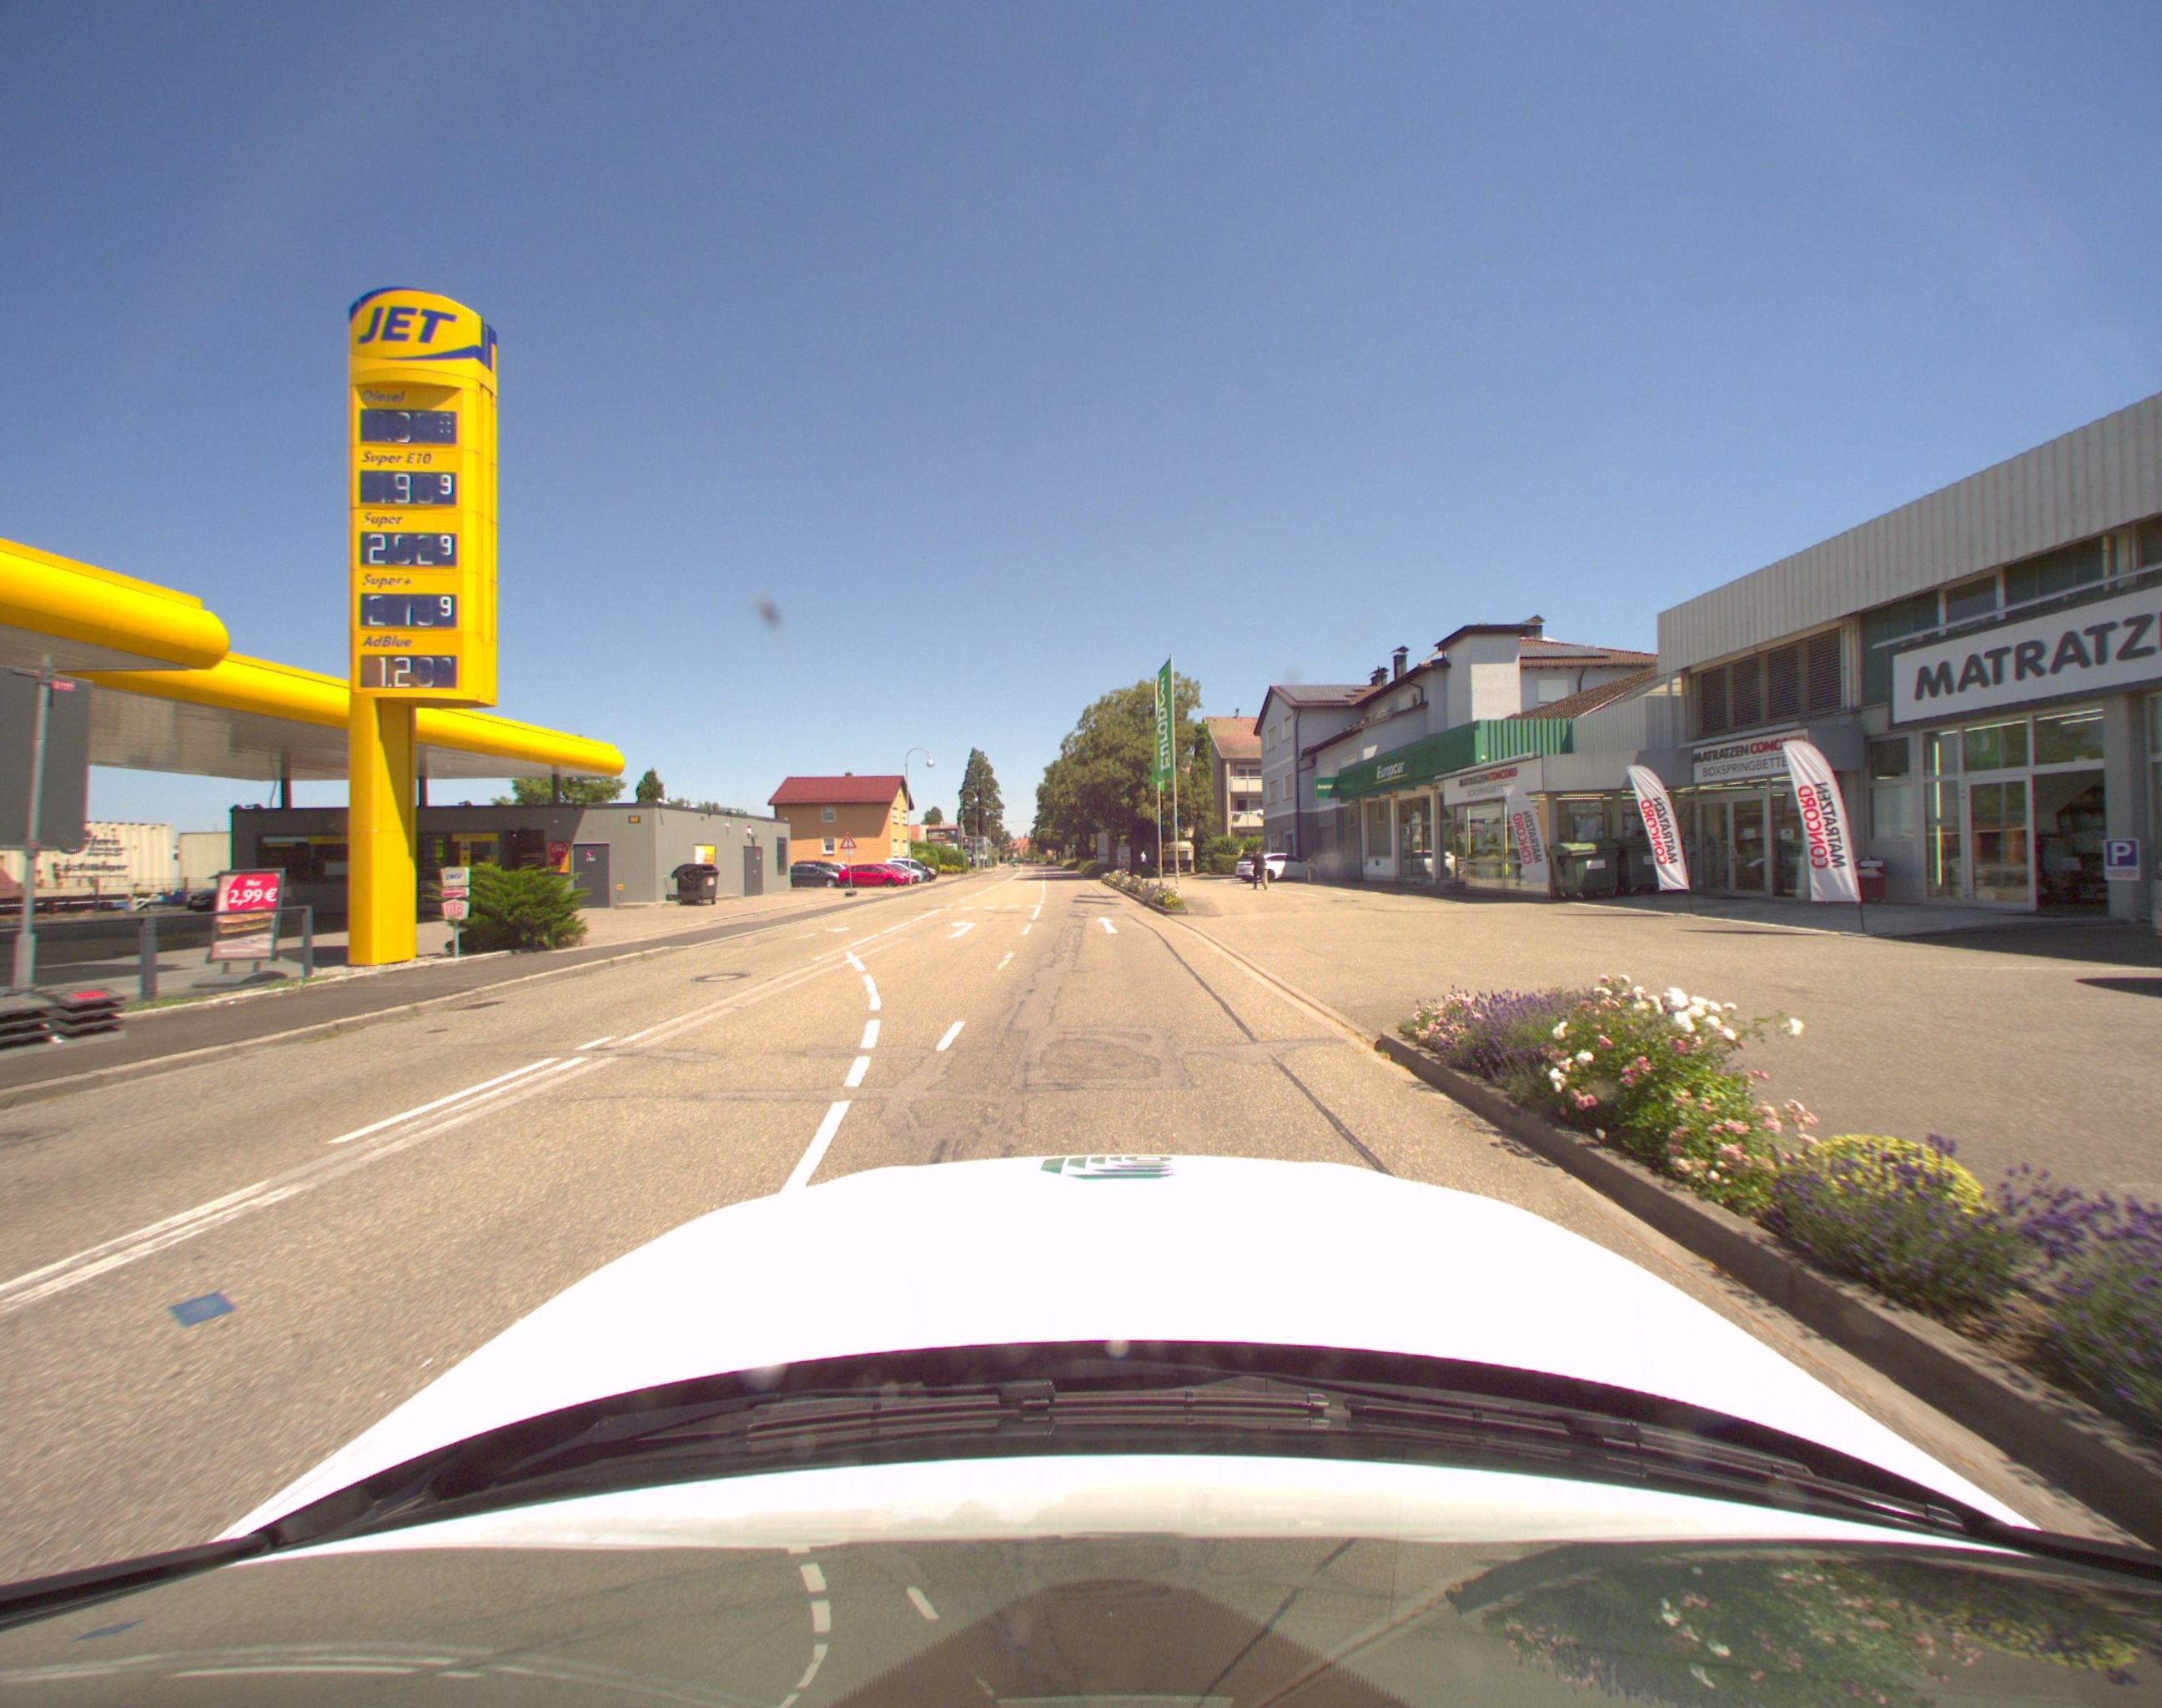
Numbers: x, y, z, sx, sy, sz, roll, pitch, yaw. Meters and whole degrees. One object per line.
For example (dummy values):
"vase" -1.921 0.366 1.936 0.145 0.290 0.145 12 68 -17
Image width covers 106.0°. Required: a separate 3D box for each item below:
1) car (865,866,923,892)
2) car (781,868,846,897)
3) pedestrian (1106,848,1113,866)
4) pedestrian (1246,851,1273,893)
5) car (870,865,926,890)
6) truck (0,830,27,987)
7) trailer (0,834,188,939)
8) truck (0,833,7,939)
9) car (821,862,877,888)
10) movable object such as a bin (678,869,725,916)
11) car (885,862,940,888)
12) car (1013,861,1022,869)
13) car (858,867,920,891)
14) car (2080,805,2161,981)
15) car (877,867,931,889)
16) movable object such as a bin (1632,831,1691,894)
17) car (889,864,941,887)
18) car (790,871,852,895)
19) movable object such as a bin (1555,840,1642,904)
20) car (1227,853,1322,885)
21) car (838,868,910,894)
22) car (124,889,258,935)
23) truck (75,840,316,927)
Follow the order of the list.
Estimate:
"car" -12.977 1.702 56.769 3.658 1.605 1.879 -2 -1 -5
"car" -17.543 1.853 53.521 3.658 1.709 1.889 -2 -1 -5
"pedestrian" 3.056 0.349 88.050 0.701 1.914 0.660 -3 0 0
"pedestrian" 7.189 0.718 32.816 0.837 1.641 1.010 -2 -1 2
"car" -13.212 1.681 58.945 3.658 1.581 1.919 -2 -1 -5
"truck" -19.252 0.934 10.468 2.222 2.598 6.743 -2 0 6
"trailer" -34.112 1.026 27.282 1.860 3.219 5.910 -2 0 -2
"truck" -34.006 1.046 23.430 1.841 3.242 3.187 -2 1 -2
"car" -17.291 1.534 60.831 3.658 1.776 1.919 -2 -1 -5
"movable object such as a bin" -13.316 1.342 28.599 0.949 1.517 1.427 2 1 -2
"car" -13.514 1.647 65.410 4.090 1.898 1.995 -2 -1 -7
"car" -13.369 2.300 170.990 1.706 1.495 4.273 -2 0 -3
"car" -12.745 1.641 54.259 3.658 1.457 1.889 -2 0 -5
"car" 12.166 0.265 6.744 4.546 1.642 2.009 -3 -1 17
"car" -13.202 1.782 61.058 3.658 1.531 1.919 -2 0 -5
"movable object such as a bin" 14.130 0.198 19.841 0.849 1.445 0.703 -5 -1 5
"car" -12.895 1.659 63.349 3.658 1.672 1.919 -2 -1 -5
"car" -17.668 1.974 55.476 3.658 1.457 1.889 -2 0 -5
"movable object such as a bin" 12.651 0.425 19.950 1.556 1.422 0.703 -5 0 5
"car" 9.725 0.751 40.863 4.365 1.371 1.939 -2 -1 -25
"car" -13.132 1.681 51.848 4.117 1.444 1.825 -2 0 -3
"car" -29.903 1.923 27.485 1.295 1.309 3.006 -2 0 -4
"truck" -39.059 1.276 36.109 7.853 3.426 2.153 -2 -1 -4
